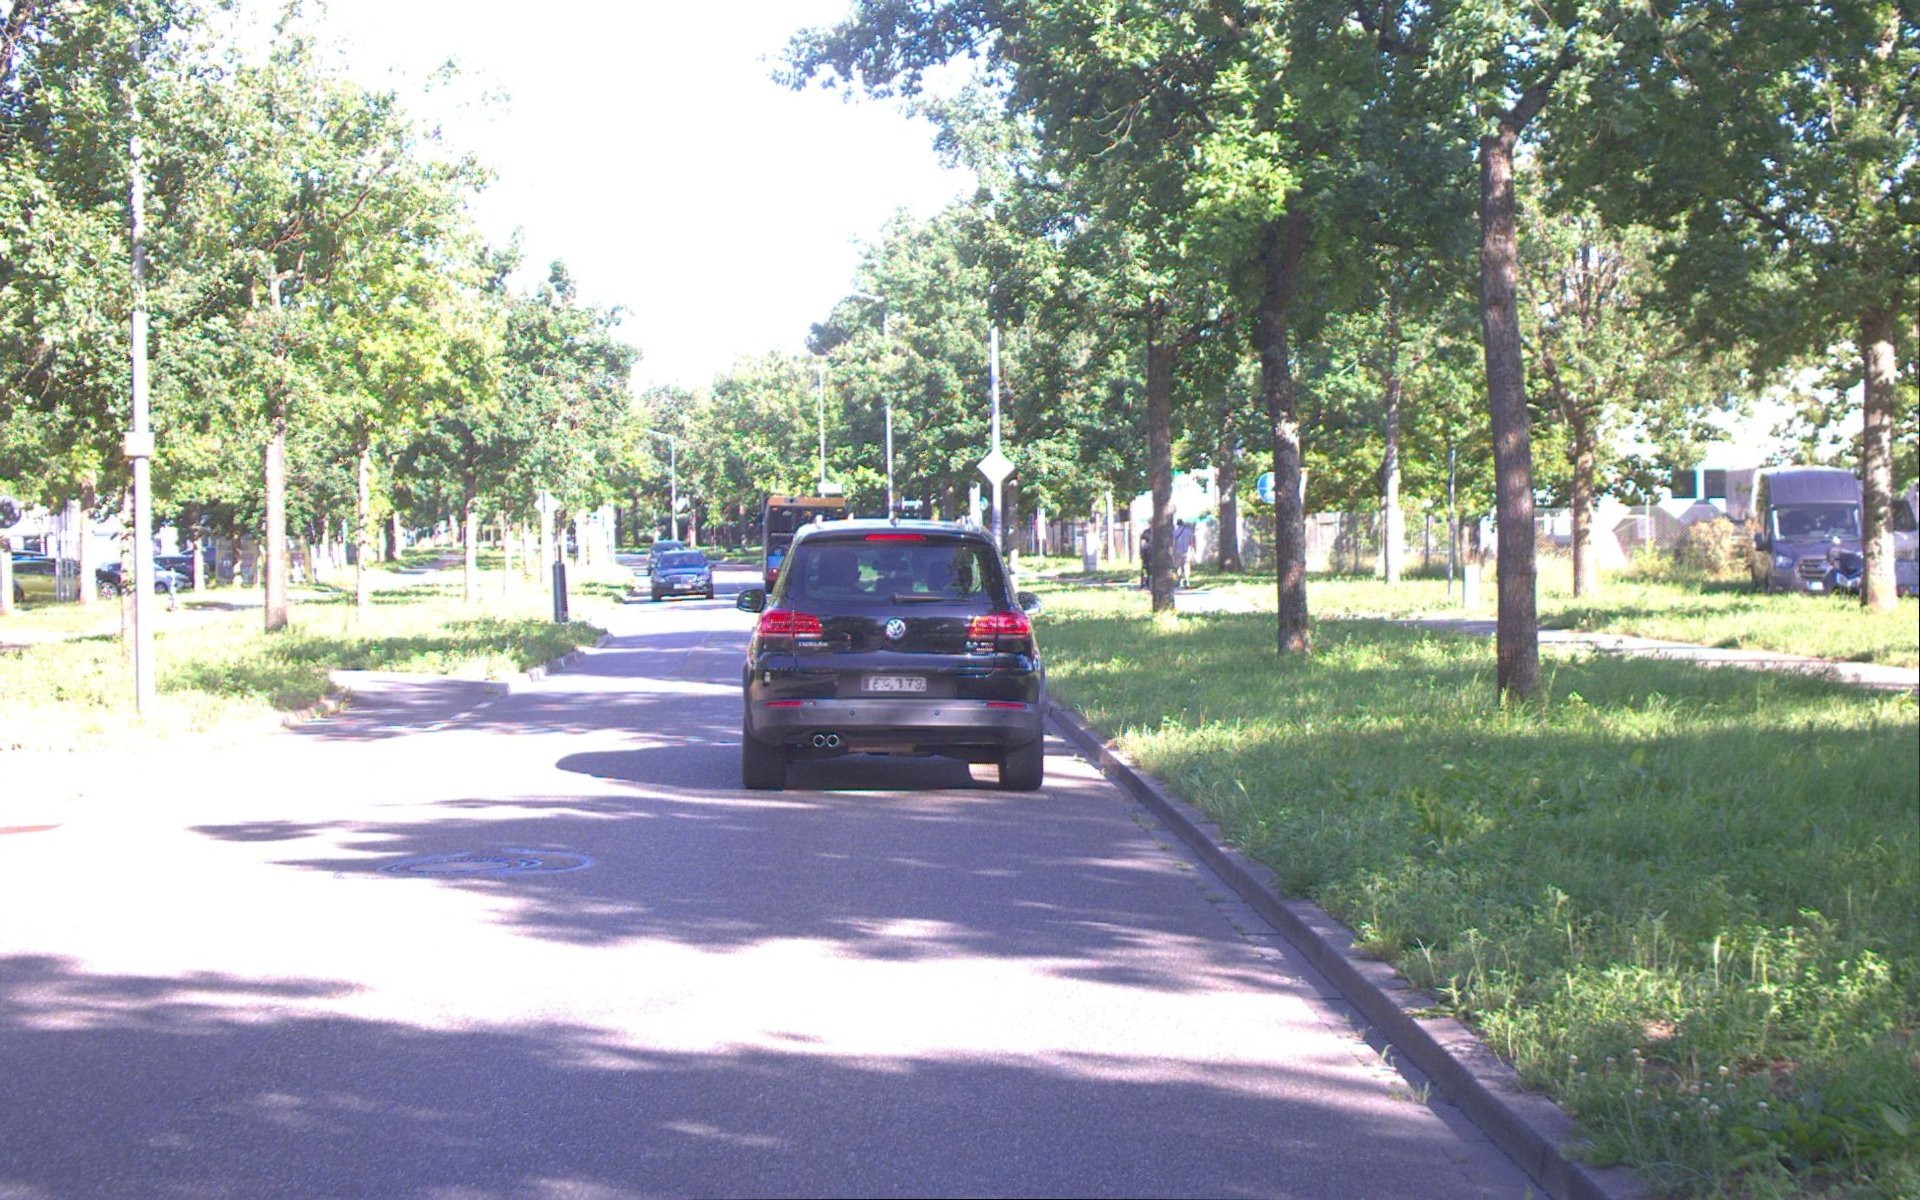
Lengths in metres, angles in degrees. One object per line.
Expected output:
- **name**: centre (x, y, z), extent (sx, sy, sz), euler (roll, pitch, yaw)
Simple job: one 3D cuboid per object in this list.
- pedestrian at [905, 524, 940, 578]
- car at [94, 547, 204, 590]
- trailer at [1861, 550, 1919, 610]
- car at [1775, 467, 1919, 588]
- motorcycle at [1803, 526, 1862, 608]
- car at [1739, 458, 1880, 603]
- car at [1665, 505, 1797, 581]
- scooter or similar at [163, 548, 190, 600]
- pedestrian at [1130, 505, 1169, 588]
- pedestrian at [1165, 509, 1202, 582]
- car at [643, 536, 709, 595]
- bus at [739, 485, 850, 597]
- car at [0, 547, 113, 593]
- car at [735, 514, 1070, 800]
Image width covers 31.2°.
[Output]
- **pedestrian**: centre (-1.182, -1.543, 108.049), extent (1.019, 1.646, 1.100), euler (-1, 1, -4)
- **car**: centre (-32.221, -1.243, 136.555), extent (3.744, 1.612, 1.963), euler (-1, 1, 11)
- **trailer**: centre (15.496, -0.321, 55.577), extent (1.579, 0.865, 2.053), euler (-1, -3, 9)
- **car**: centre (20.361, -1.661, 78.245), extent (2.160, 2.634, 4.852), euler (-1, 1, -3)
- **motorcycle**: centre (14.572, -0.533, 57.475), extent (0.663, 1.227, 2.405), euler (-1, -3, 8)
- **car**: centre (16.705, -1.431, 67.865), extent (2.085, 2.557, 5.971), euler (1, 4, 8)
- **car**: centre (17.712, -1.314, 79.143), extent (2.005, 1.658, 3.597), euler (-1, 1, -3)
- **scooter or similar**: centre (-19.478, -0.652, 85.494), extent (0.395, 1.275, 1.441), euler (-1, 1, -3)
- **pedestrian**: centre (4.238, -1.198, 76.898), extent (0.725, 1.806, 0.868), euler (-1, 4, -4)
- **pedestrian**: centre (5.554, -1.359, 85.609), extent (0.725, 1.749, 0.868), euler (-3, 1, -3)
- **car**: centre (-8.197, -1.018, 99.544), extent (1.765, 1.523, 4.496), euler (-3, 2, -4)
- **bus**: centre (-5.520, -1.967, 112.766), extent (2.764, 3.444, 11.214), euler (-1, 1, -7)
- **car**: centre (-29.468, -0.967, 110.375), extent (1.999, 1.397, 3.943), euler (0, 2, 45)
- **car**: centre (-0.475, 0.283, 22.282), extent (1.936, 1.650, 4.428), euler (0, 2, -4)
